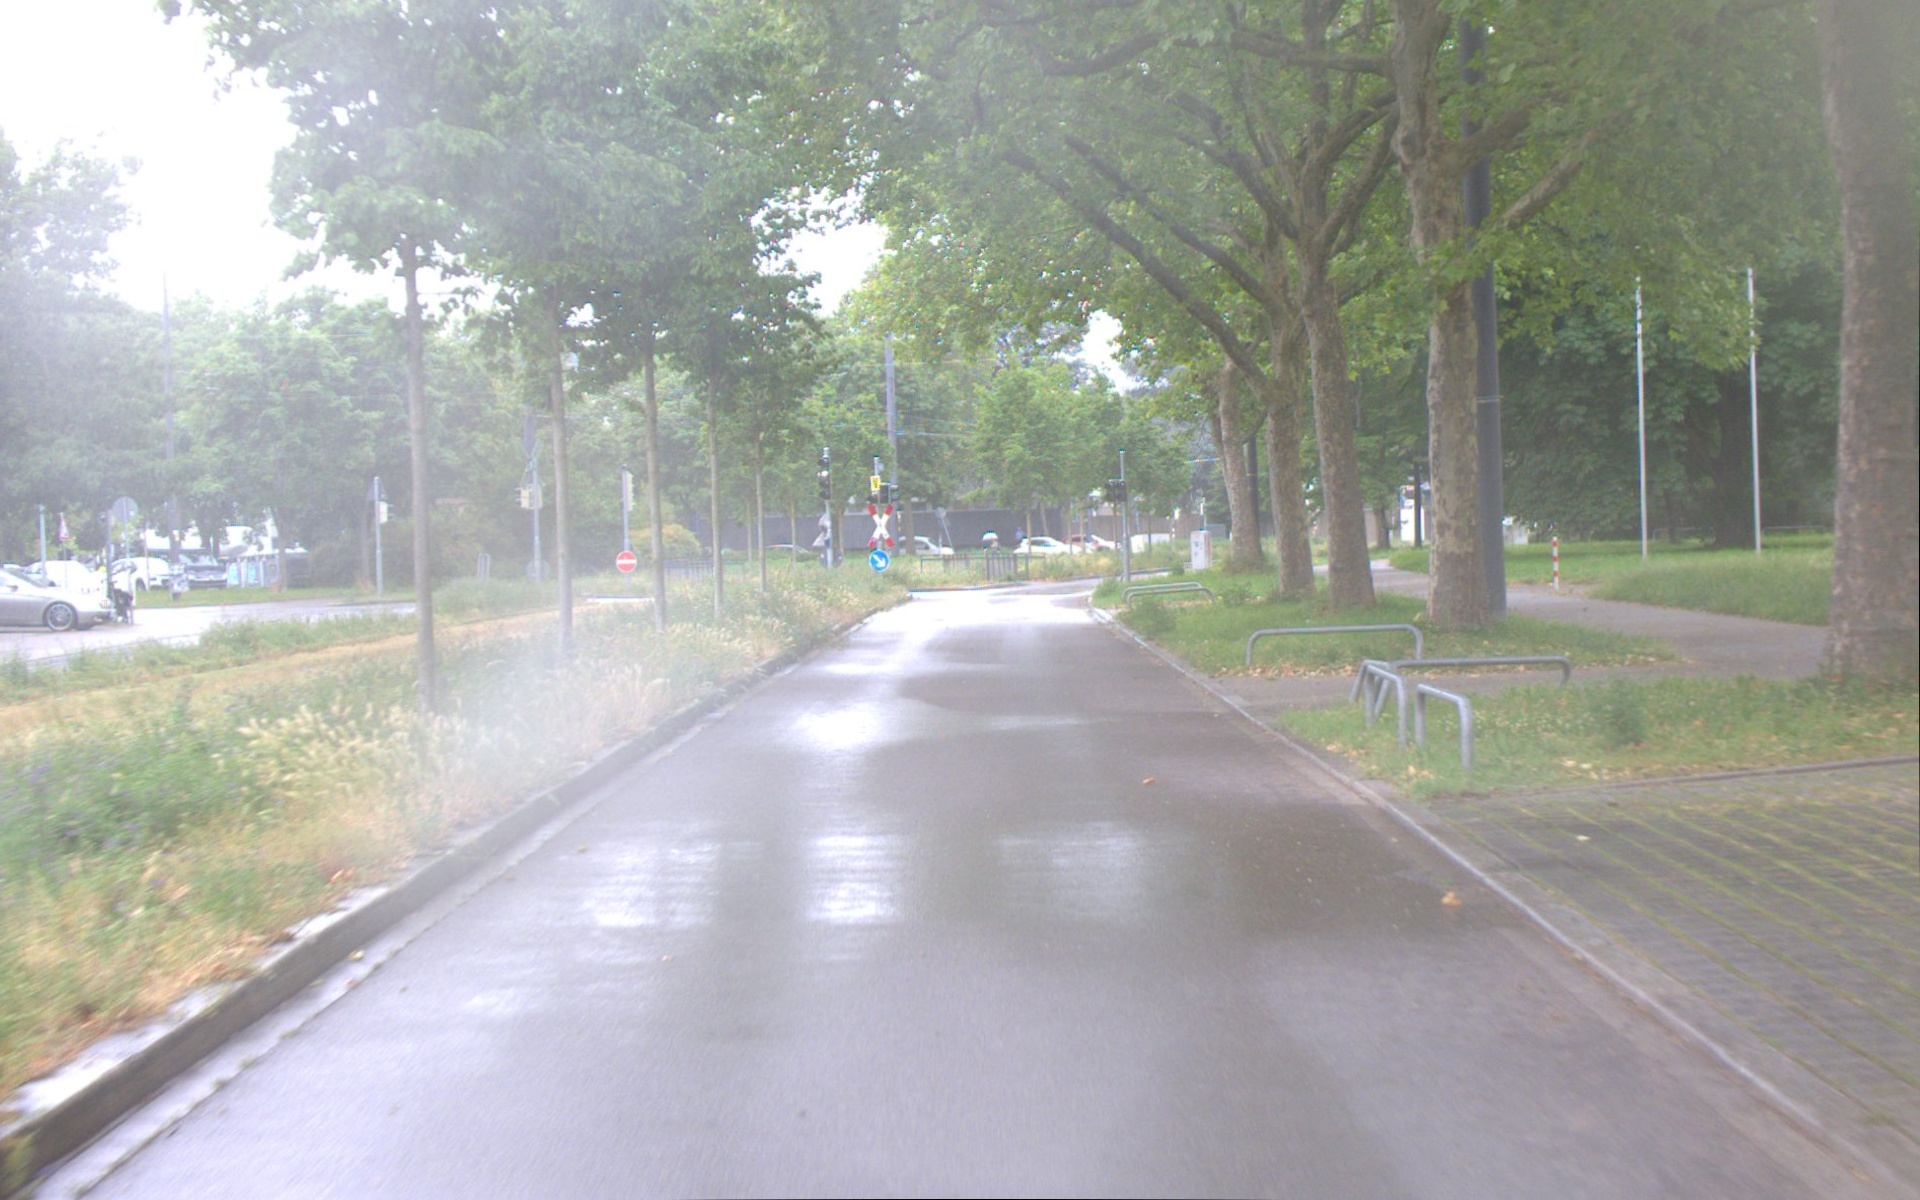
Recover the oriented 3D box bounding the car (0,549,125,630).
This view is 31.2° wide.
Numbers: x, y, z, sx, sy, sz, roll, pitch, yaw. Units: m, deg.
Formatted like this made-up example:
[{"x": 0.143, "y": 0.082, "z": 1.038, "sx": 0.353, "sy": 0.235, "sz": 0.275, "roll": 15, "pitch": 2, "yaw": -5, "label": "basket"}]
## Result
[{"x": -19.984, "y": -0.196, "z": 73.027, "sx": 3.986, "sy": 1.611, "sz": 2.000, "roll": -2, "pitch": 1, "yaw": -2, "label": "car"}]
